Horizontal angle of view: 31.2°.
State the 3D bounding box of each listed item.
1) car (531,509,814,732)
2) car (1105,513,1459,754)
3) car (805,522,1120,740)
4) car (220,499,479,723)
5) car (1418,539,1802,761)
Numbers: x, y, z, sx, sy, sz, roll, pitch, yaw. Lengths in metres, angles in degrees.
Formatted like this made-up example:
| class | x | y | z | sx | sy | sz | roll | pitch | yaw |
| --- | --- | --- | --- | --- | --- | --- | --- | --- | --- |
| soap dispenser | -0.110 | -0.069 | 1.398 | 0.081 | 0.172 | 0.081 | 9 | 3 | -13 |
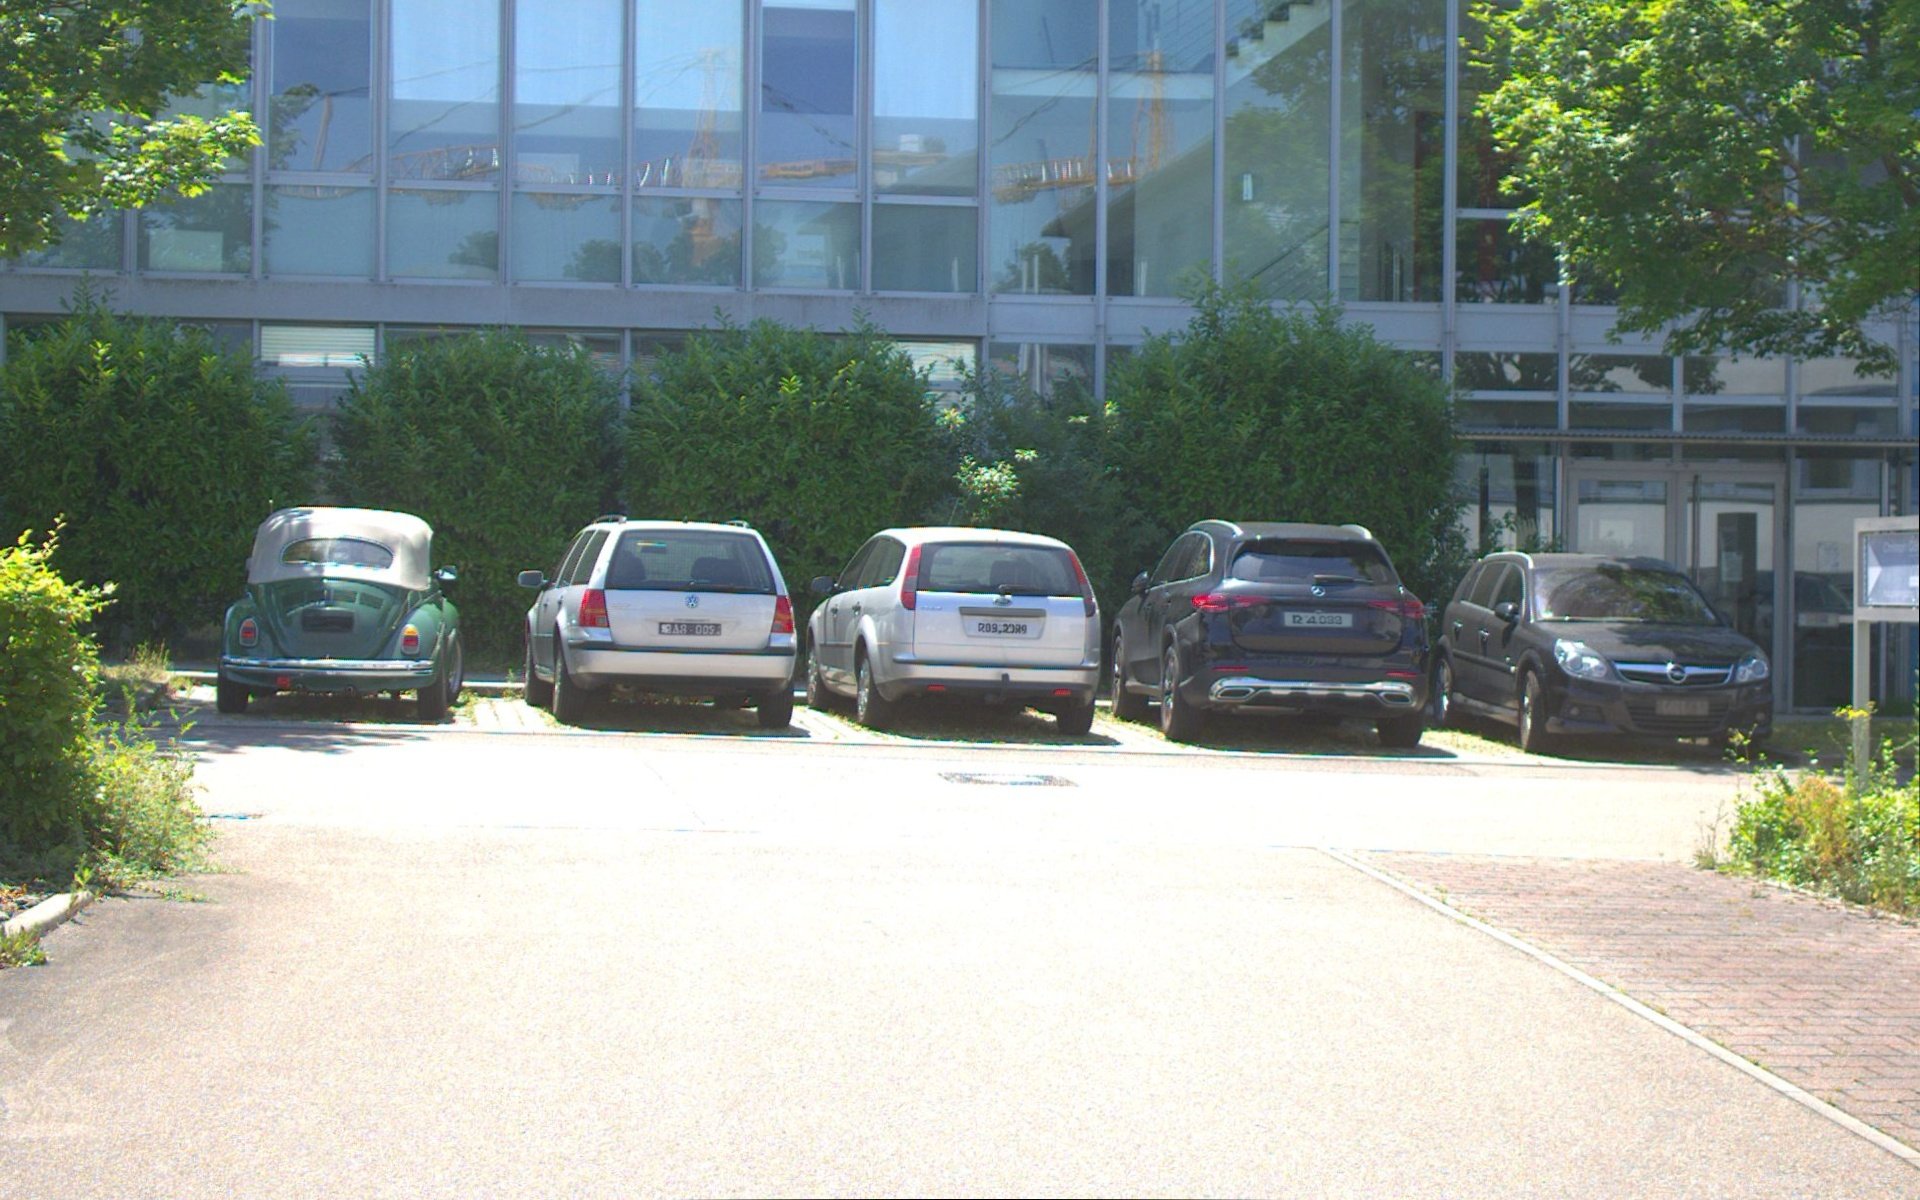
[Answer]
| class | x | y | z | sx | sy | sz | roll | pitch | yaw |
| --- | --- | --- | --- | --- | --- | --- | --- | --- | --- |
| car | -2.205 | 0.098 | 25.535 | 1.731 | 1.444 | 3.655 | 2 | 2 | -10 |
| car | 2.369 | 0.188 | 26.353 | 1.926 | 1.605 | 3.987 | 2 | 2 | -5 |
| car | -0.058 | 0.182 | 26.325 | 1.764 | 1.444 | 3.655 | 2 | 2 | -10 |
| car | -4.387 | 0.027 | 25.110 | 1.541 | 1.444 | 3.655 | 2 | 2 | -6 |
| car | 4.903 | 0.322 | 26.537 | 1.769 | 1.477 | 4.260 | 1 | 2 | -5 |
